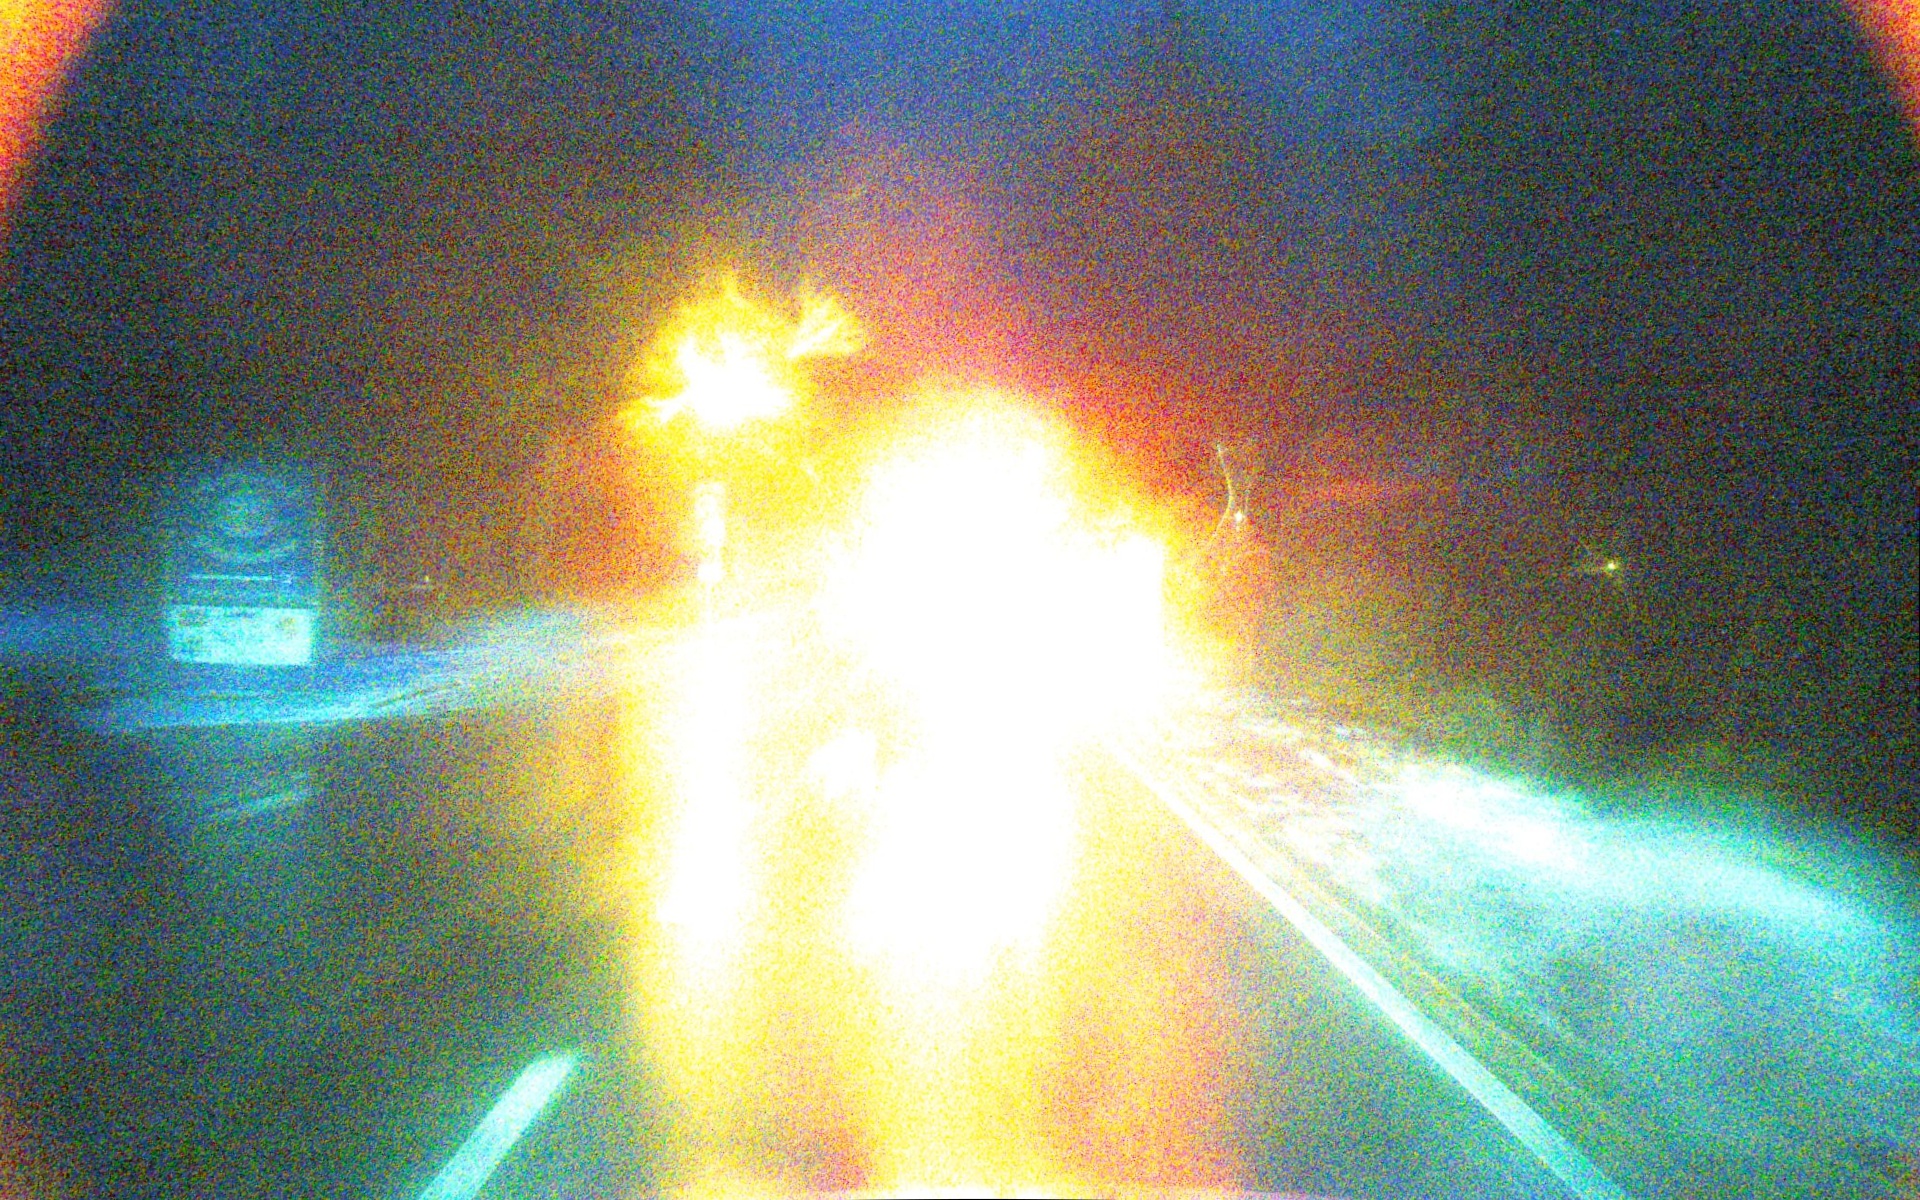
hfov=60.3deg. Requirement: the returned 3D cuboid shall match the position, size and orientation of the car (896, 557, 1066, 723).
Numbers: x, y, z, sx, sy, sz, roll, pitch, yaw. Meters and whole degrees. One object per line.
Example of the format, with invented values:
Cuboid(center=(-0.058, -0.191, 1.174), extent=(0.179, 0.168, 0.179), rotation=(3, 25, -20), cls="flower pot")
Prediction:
Cuboid(center=(0.282, 0.399, 19.078), extent=(1.753, 1.711, 3.905), rotation=(0, 0, 2), cls="car")
